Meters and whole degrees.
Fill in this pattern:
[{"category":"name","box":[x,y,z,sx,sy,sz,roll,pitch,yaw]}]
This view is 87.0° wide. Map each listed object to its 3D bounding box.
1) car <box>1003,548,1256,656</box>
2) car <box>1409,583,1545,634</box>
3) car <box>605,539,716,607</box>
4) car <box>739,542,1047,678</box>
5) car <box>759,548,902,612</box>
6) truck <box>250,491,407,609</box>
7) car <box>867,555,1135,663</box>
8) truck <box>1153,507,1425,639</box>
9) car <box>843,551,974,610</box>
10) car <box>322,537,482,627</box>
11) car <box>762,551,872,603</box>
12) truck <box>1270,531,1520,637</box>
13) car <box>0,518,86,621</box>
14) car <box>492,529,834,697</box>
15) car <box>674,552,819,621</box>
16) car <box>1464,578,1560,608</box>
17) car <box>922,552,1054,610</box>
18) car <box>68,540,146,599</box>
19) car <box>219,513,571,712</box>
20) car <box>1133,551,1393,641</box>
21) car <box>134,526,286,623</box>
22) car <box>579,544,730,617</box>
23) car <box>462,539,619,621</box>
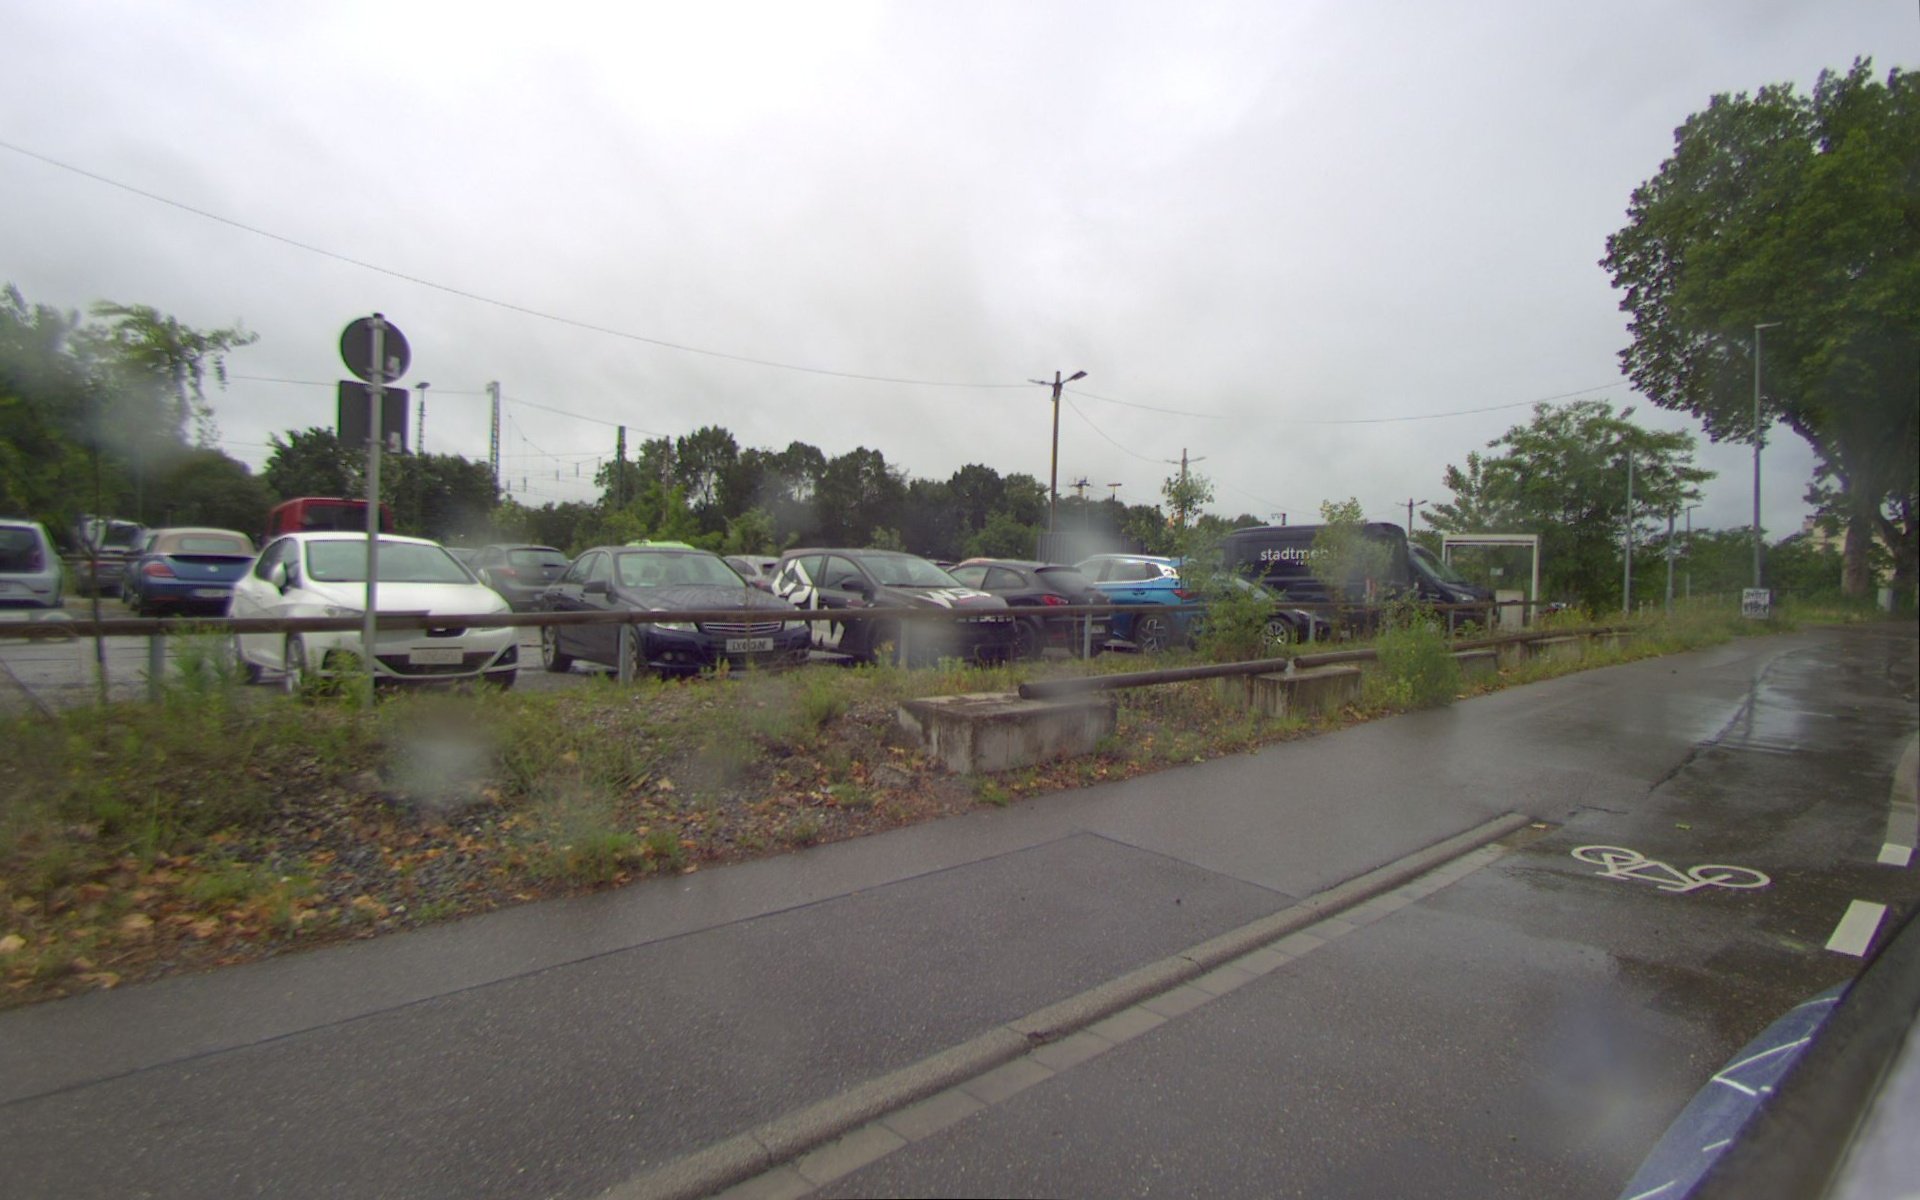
[{"category":"car","box":[2.779,-0.019,17.103,1.866,1.614,3.897,-1,2,-45]},{"category":"car","box":[17.382,0.240,34.254,3.958,1.521,1.861,2,2,25]},{"category":"car","box":[-8.791,-0.795,29.496,1.764,1.822,3.997,0,2,-38]},{"category":"car","box":[-0.953,0.055,12.677,1.751,1.440,3.897,-1,2,-45]},{"category":"car","box":[-3.528,-0.588,27.070,1.892,1.508,4.075,-1,4,-40]},{"category":"truck","box":[-14.578,-1.134,23.206,2.117,2.397,5.296,0,2,-43]},{"category":"car","box":[0.512,0.068,15.160,1.751,1.412,3.897,-1,2,-45]},{"category":"truck","box":[6.718,-0.549,21.103,2.076,2.432,5.036,0,1,-45]},{"category":"car","box":[-1.529,-0.604,28.768,1.677,1.498,3.961,-1,4,-40]},{"category":"car","box":[-10.372,-0.410,18.690,1.854,1.444,3.961,-1,4,-40]},{"category":"car","box":[-4.841,-0.791,33.904,1.734,1.660,3.994,0,2,-41]},{"category":"truck","box":[10.616,-0.408,25.066,2.039,2.352,5.336,0,1,-42]},{"category":"car","box":[-14.846,-0.539,15.710,1.854,1.444,3.961,-1,4,-40]},{"category":"car","box":[-3.273,0.062,10.747,1.875,1.440,3.897,-1,2,-45]},{"category":"car","box":[-5.249,-0.376,24.542,1.789,1.444,3.961,-1,4,-40]},{"category":"car","box":[29.936,-0.394,54.935,4.370,1.447,1.852,3,2,36]},{"category":"car","box":[0.784,-0.632,30.596,1.775,1.555,3.961,-1,4,-40]},{"category":"car","box":[-24.225,-0.906,28.794,1.603,1.559,3.903,0,2,-40]},{"category":"car","box":[-5.264,0.038,9.218,1.875,1.410,3.773,-1,2,-45]},{"category":"car","box":[5.382,-0.124,18.327,4.161,1.437,1.834,1,2,45]},{"category":"car","box":[-12.908,-0.509,17.331,1.854,1.444,3.961,-1,4,-40]},{"category":"car","box":[-6.945,-0.502,22.794,1.854,1.444,3.961,-1,4,-40]},{"category":"car","box":[-8.577,-0.463,20.510,1.854,1.444,3.961,-1,4,-40]}]
